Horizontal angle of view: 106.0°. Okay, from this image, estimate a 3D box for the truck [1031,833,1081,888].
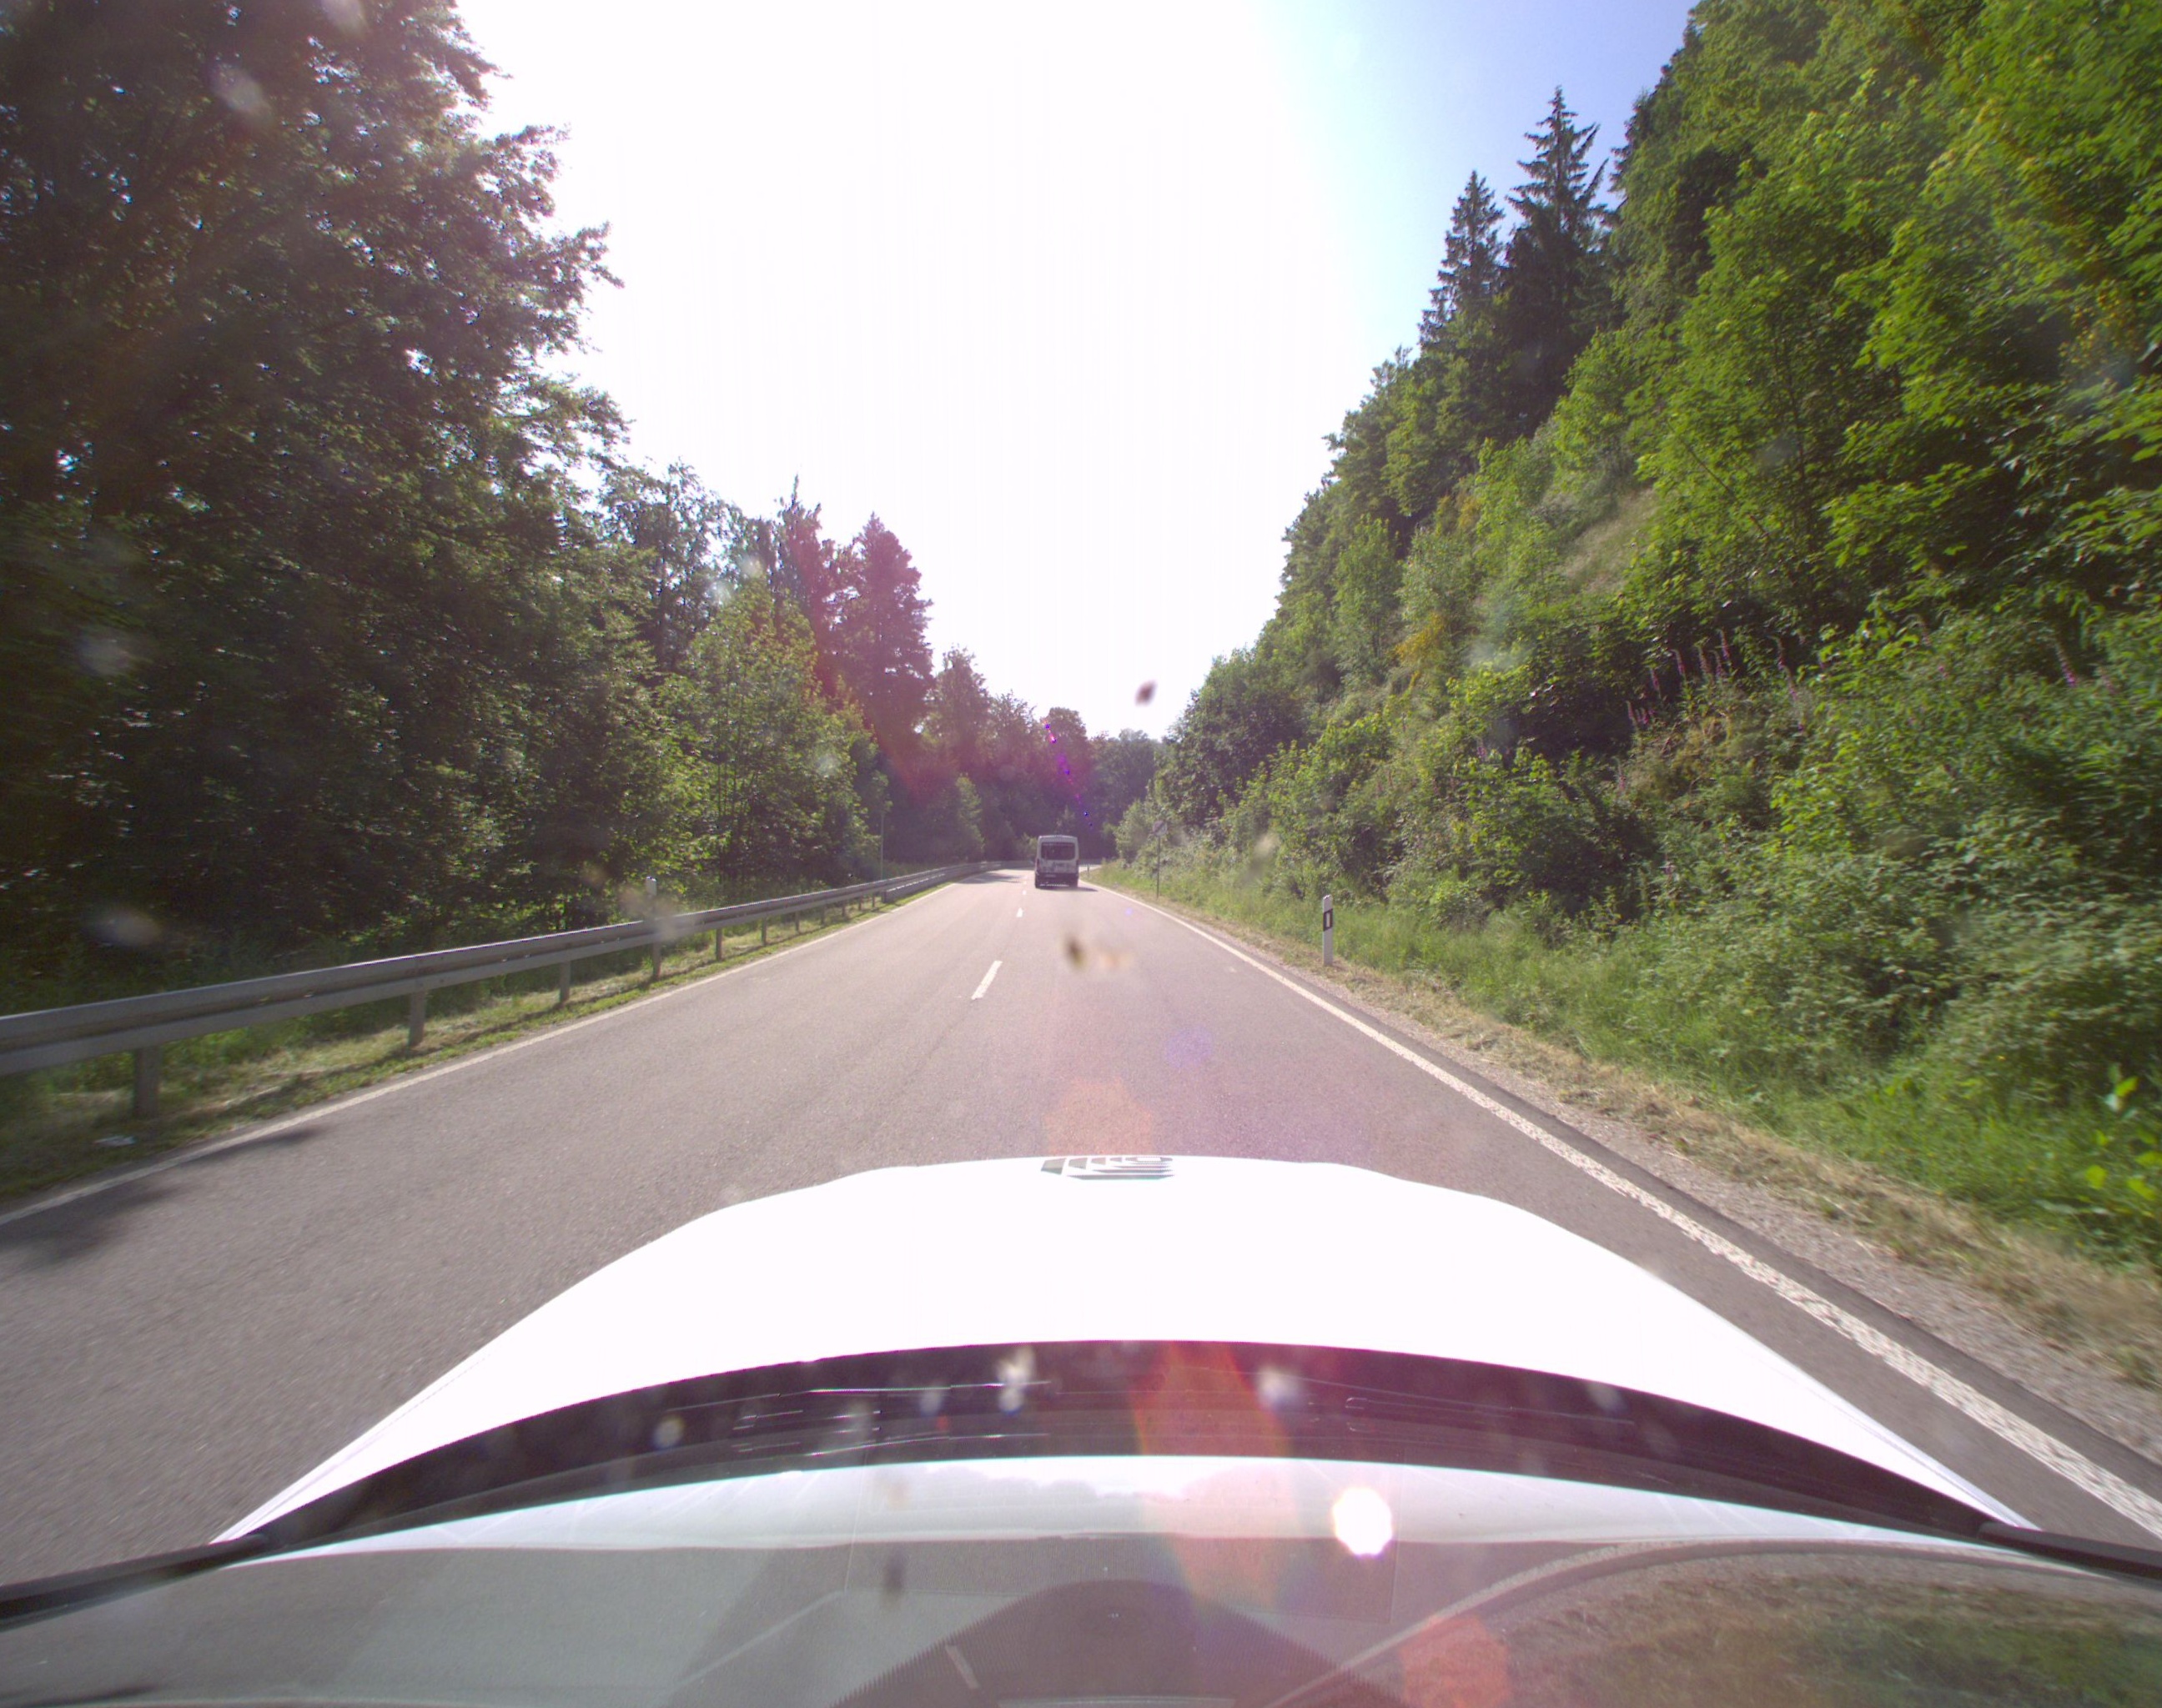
[{"bbox_3d":[-1.297,0.301,39.837,2.112,2.498,5.349,1,0,-6],"label":"truck"}]
